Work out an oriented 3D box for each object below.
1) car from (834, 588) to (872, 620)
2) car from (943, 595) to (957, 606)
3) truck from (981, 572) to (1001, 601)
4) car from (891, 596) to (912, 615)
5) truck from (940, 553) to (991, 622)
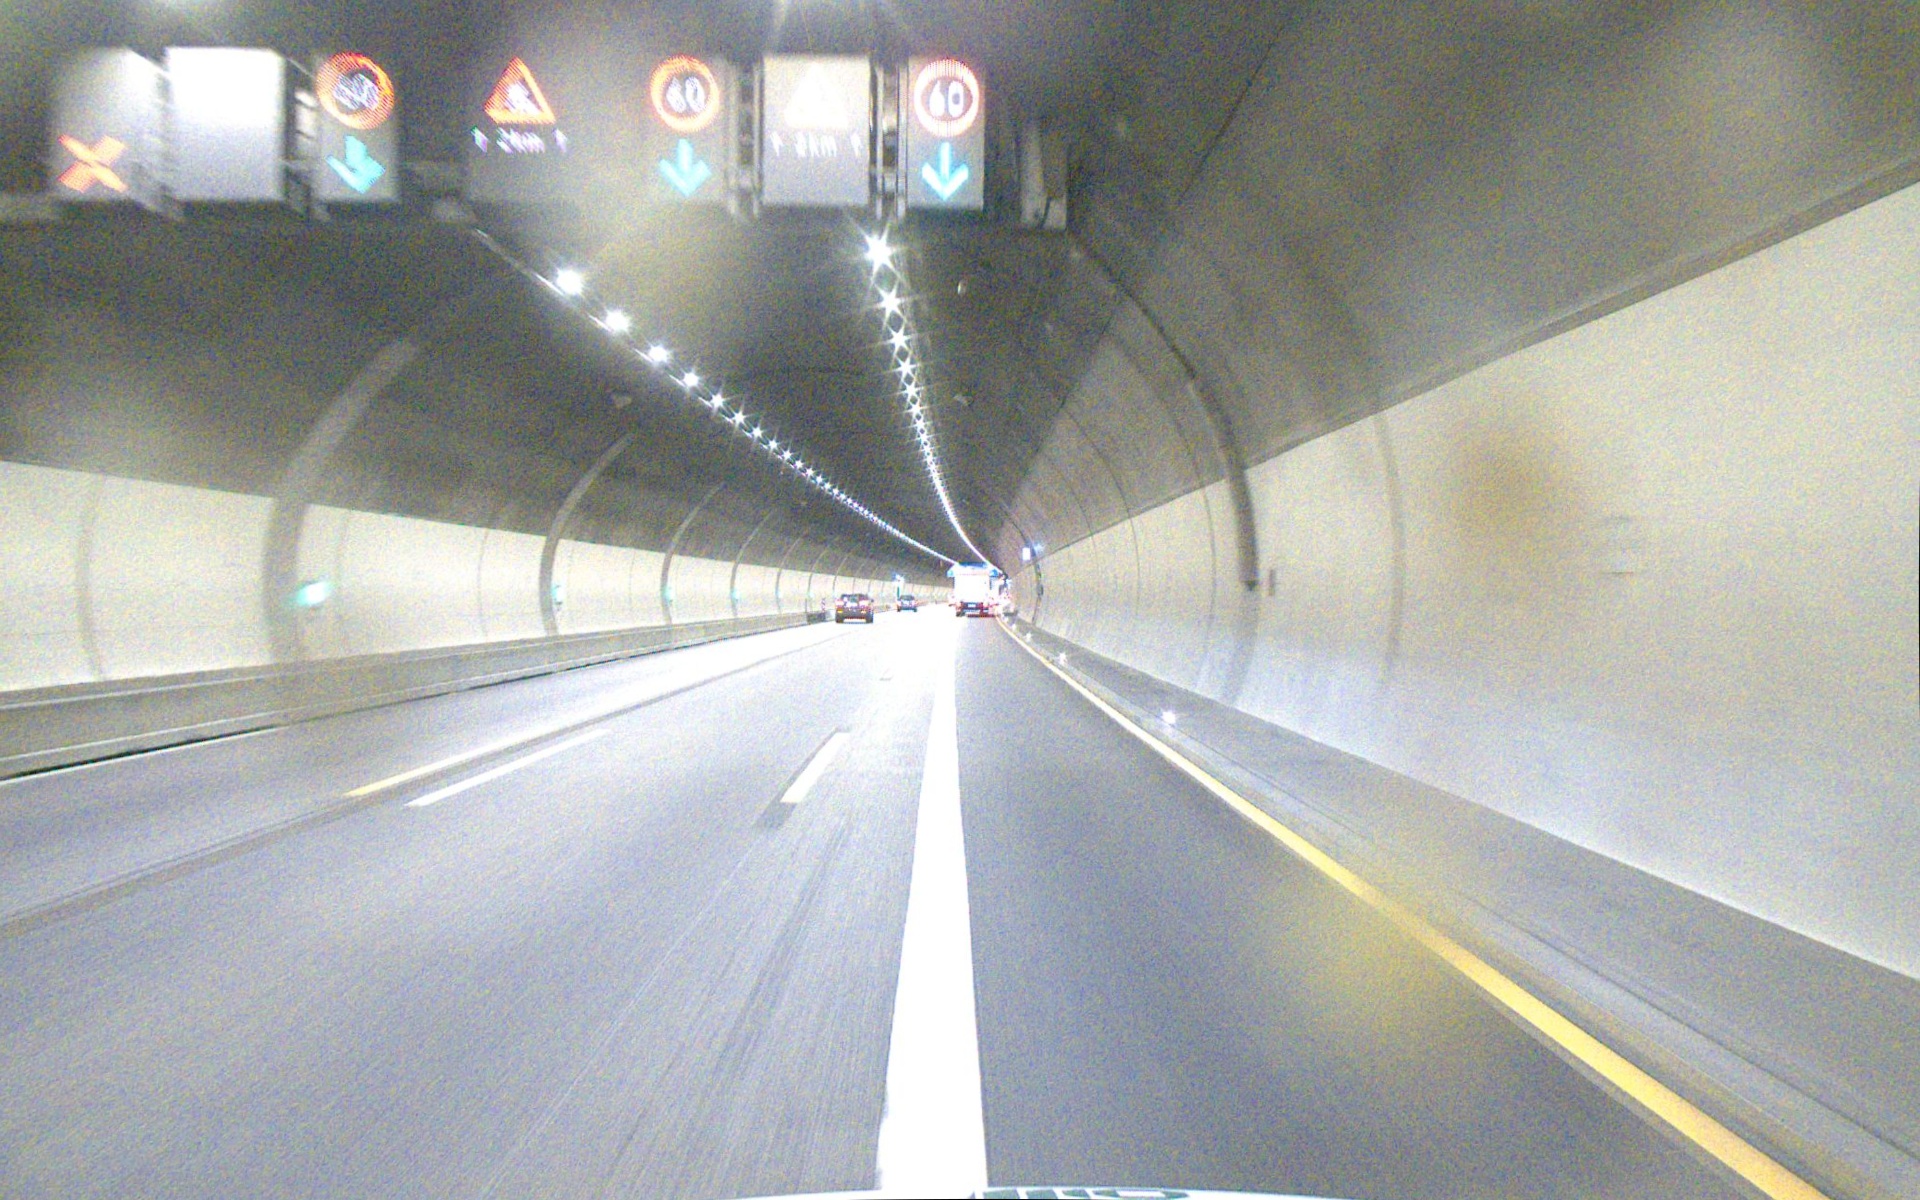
[{"bbox_3d":[-5.534,0.184,85.951,1.775,1.646,4.000,0,1,0],"label":"car"},{"bbox_3d":[-1.292,0.082,207.610,1.617,1.297,4.000,0,2,-2],"label":"car"},{"bbox_3d":[4.600,-2.033,248.125,2.862,4.118,14.030,-1,0,0],"label":"truck"},{"bbox_3d":[-5.038,0.463,142.352,1.776,1.546,4.000,0,2,-2],"label":"car"},{"bbox_3d":[0.286,-0.931,124.535,3.212,4.731,17.281,-1,0,-1],"label":"truck"}]
